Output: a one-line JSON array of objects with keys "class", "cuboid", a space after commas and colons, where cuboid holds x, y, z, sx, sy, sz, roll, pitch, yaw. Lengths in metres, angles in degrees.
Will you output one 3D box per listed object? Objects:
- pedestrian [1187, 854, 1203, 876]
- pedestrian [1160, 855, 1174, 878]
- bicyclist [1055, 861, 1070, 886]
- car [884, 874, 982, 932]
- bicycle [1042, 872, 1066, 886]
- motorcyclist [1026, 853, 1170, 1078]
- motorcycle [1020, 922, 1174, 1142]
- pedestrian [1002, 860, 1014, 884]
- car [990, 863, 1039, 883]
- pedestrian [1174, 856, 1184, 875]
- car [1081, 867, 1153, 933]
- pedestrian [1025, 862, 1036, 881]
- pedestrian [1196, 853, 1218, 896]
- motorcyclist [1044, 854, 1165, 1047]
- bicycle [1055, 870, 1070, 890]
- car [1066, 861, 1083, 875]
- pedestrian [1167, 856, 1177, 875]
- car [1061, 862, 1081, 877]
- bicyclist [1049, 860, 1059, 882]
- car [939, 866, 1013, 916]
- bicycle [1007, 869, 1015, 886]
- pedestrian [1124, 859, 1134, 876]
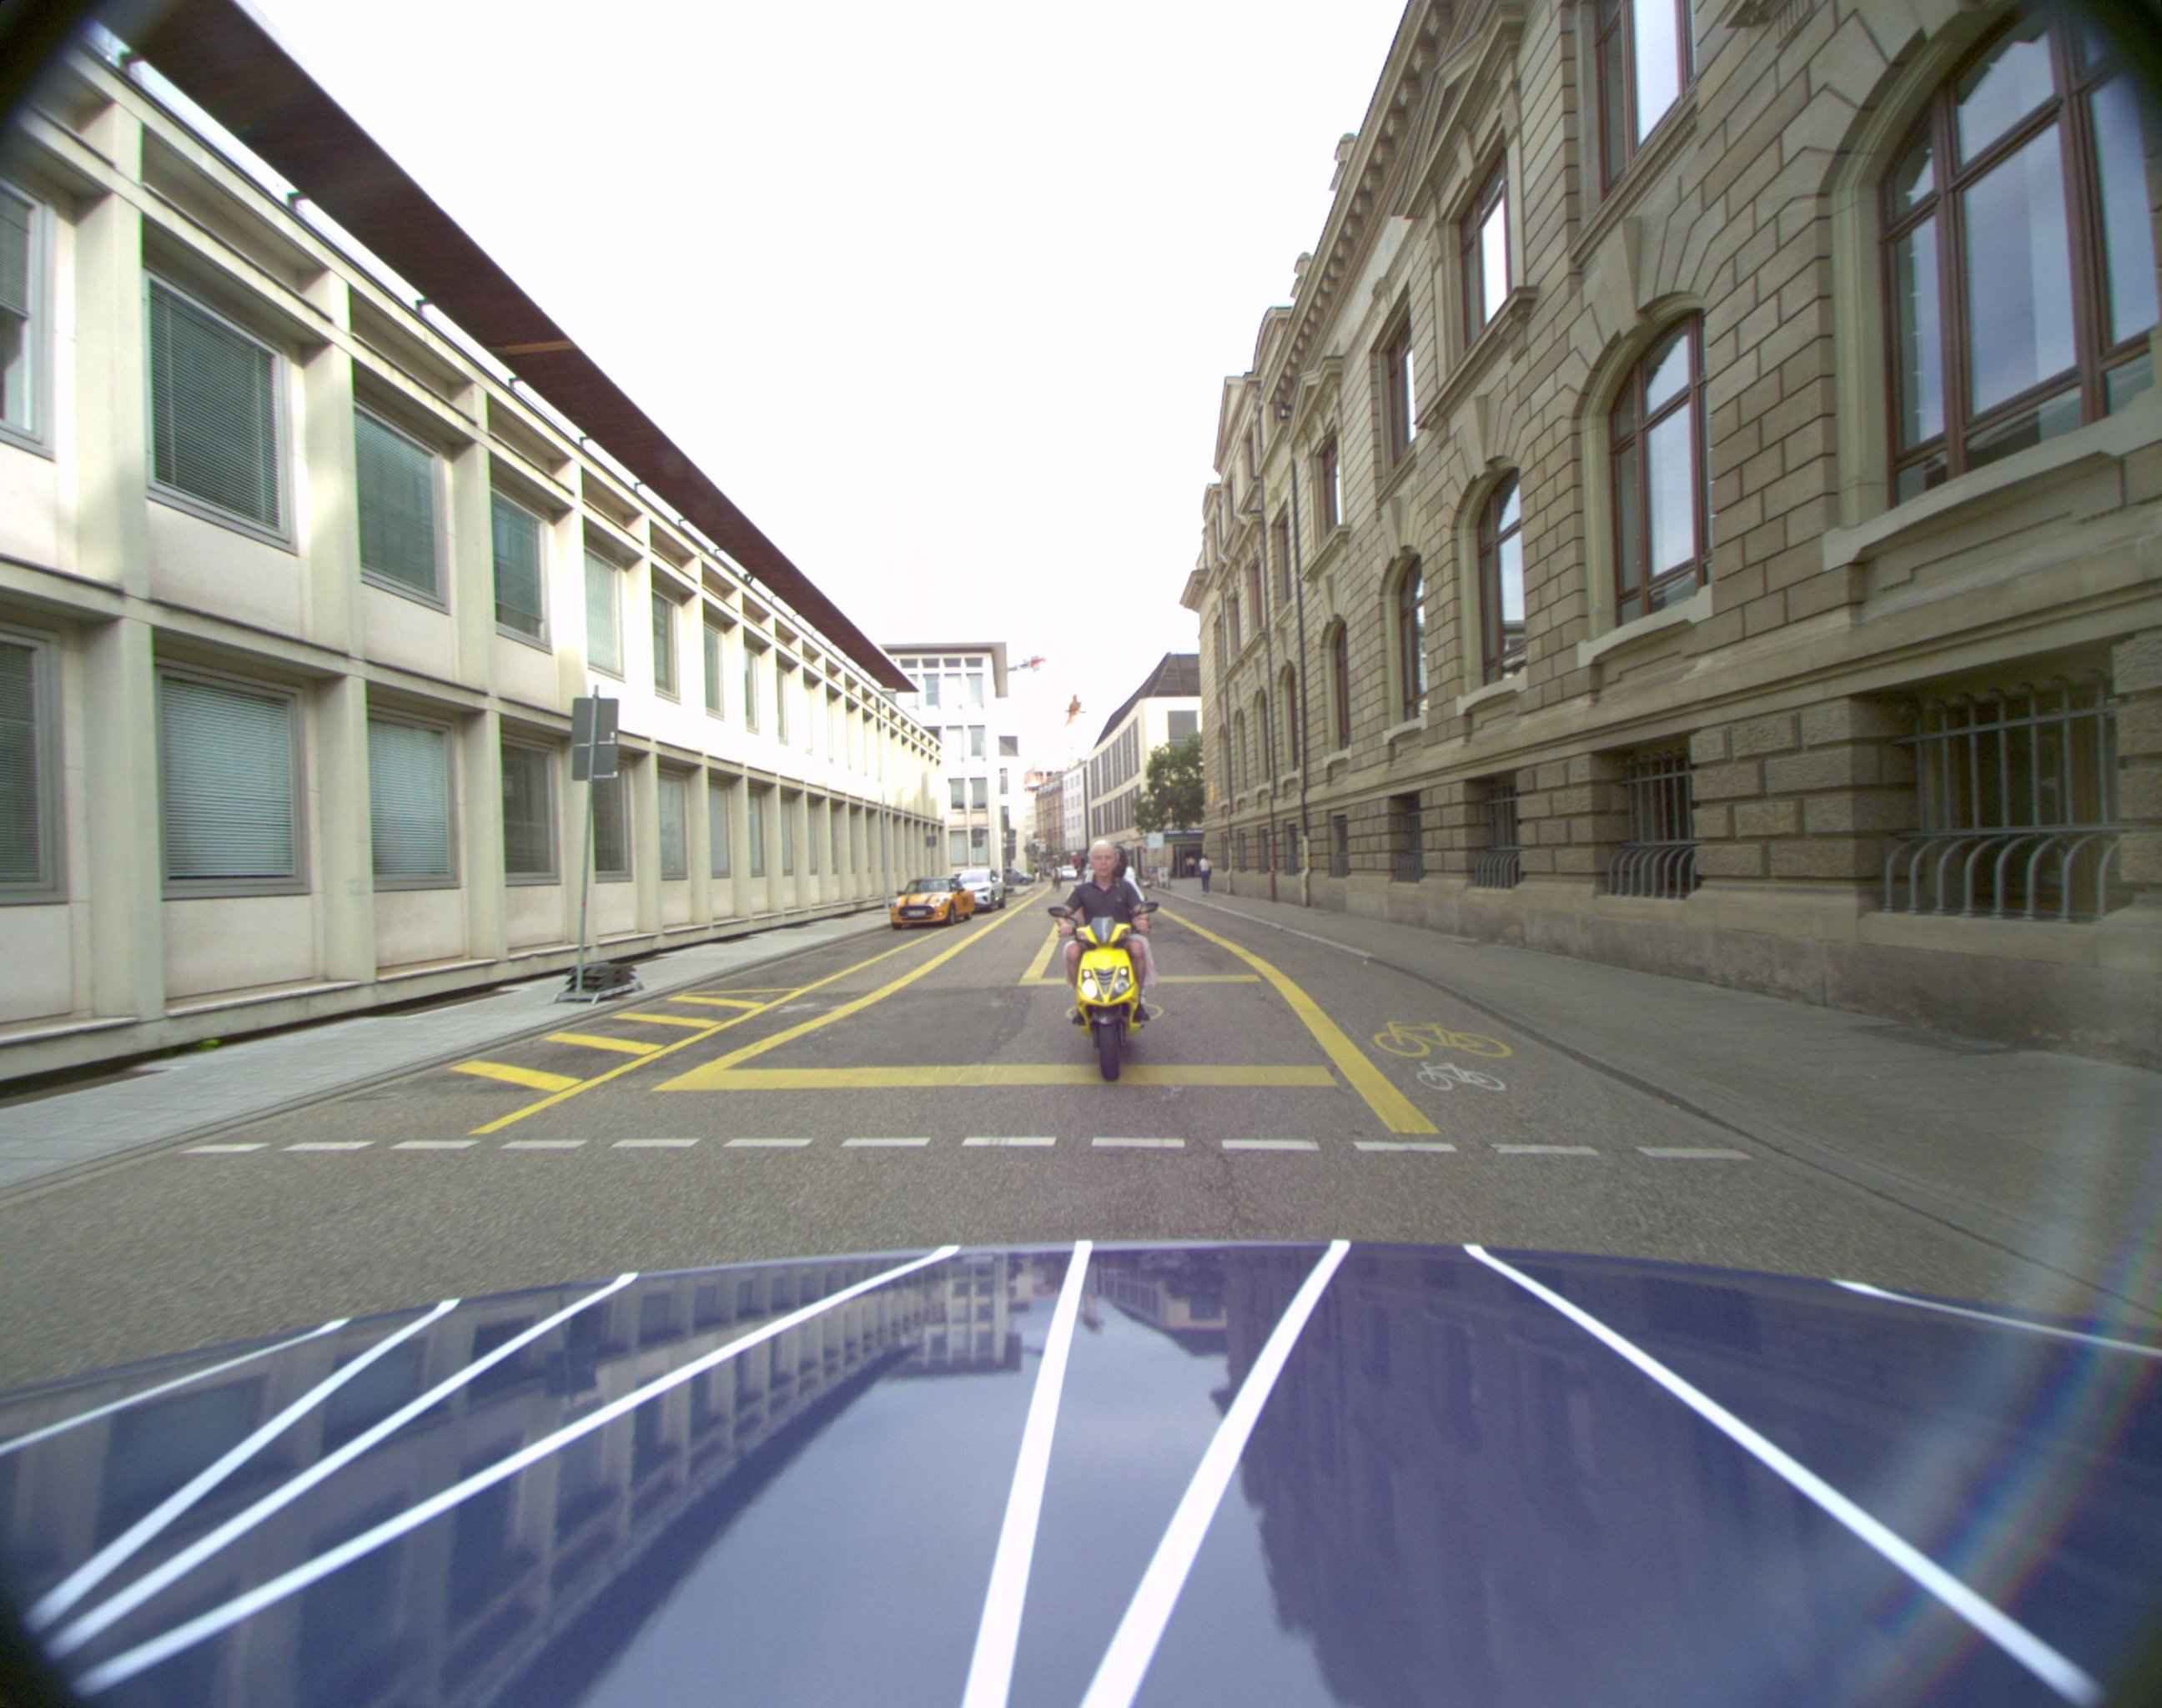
[{"class": "pedestrian", "cuboid": [9.197, 0.902, 61.115, 1.028, 1.710, 0.818, -4, 1, 0]}, {"class": "pedestrian", "cuboid": [6.979, 0.988, 61.485, 0.775, 1.820, 0.860, -2, 1, -21]}, {"class": "bicyclist", "cuboid": [-1.218, 1.252, 49.792, 0.892, 1.585, 0.877, -2, 1, 0]}, {"class": "car", "cuboid": [-4.230, 1.363, 22.291, 1.684, 1.426, 3.889, -4, -2, 6]}, {"class": "bicycle", "cuboid": [-2.028, 1.885, 57.258, 1.724, 0.829, 0.602, -5, -2, -3]}, {"class": "motorcyclist", "cuboid": [0.143, 0.725, 5.447, 0.924, 1.445, 1.066, 0, 0, 4]}, {"class": "motorcycle", "cuboid": [0.166, 1.174, 5.676, 0.929, 1.158, 2.128, 0, 0, 4]}, {"class": "pedestrian", "cuboid": [-5.868, 1.428, 61.069, 0.745, 1.804, 0.756, -6, 1, -12]}, {"class": "car", "cuboid": [-5.851, 1.688, 66.889, 4.193, 1.581, 1.815, -2, 0, -3]}, {"class": "pedestrian", "cuboid": [9.359, 1.082, 72.437, 0.648, 1.820, 0.861, -2, 1, -14]}, {"class": "car", "cuboid": [0.841, 1.111, 19.670, 1.563, 1.482, 3.783, 0, 0, -2]}, {"class": "pedestrian", "cuboid": [-4.912, 1.725, 74.282, 0.655, 1.755, 0.642, -6, 1, -38]}, {"class": "pedestrian", "cuboid": [5.458, 0.880, 32.888, 0.665, 1.809, 1.048, -4, 1, 0]}, {"class": "motorcyclist", "cuboid": [0.194, 0.733, 6.091, 0.903, 1.445, 0.742, 0, 0, 3]}, {"class": "bicycle", "cuboid": [-1.211, 1.706, 49.705, 0.870, 1.187, 2.864, -2, 0, 0]}, {"class": "car", "cuboid": [-0.815, 1.673, 92.678, 1.563, 1.547, 4.100, -3, 0, -8]}, {"class": "pedestrian", "cuboid": [8.671, 1.106, 72.235, 0.648, 1.820, 0.861, -2, 1, -14]}, {"class": "car", "cuboid": [-1.100, 1.644, 82.173, 1.563, 1.547, 4.100, -3, 0, -8]}, {"class": "bicyclist", "cuboid": [-2.033, 1.269, 57.279, 0.643, 1.609, 0.623, -5, 0, -3]}, {"class": "car", "cuboid": [-3.876, 1.338, 28.872, 1.864, 1.595, 4.513, -5, -1, 2]}, {"class": "bicycle", "cuboid": [-5.078, 1.723, 55.103, 0.590, 1.160, 1.814, -2, 0, -5]}, {"class": "pedestrian", "cuboid": [5.167, 1.461, 81.531, 0.879, 1.699, 0.910, -6, 1, -1]}]
